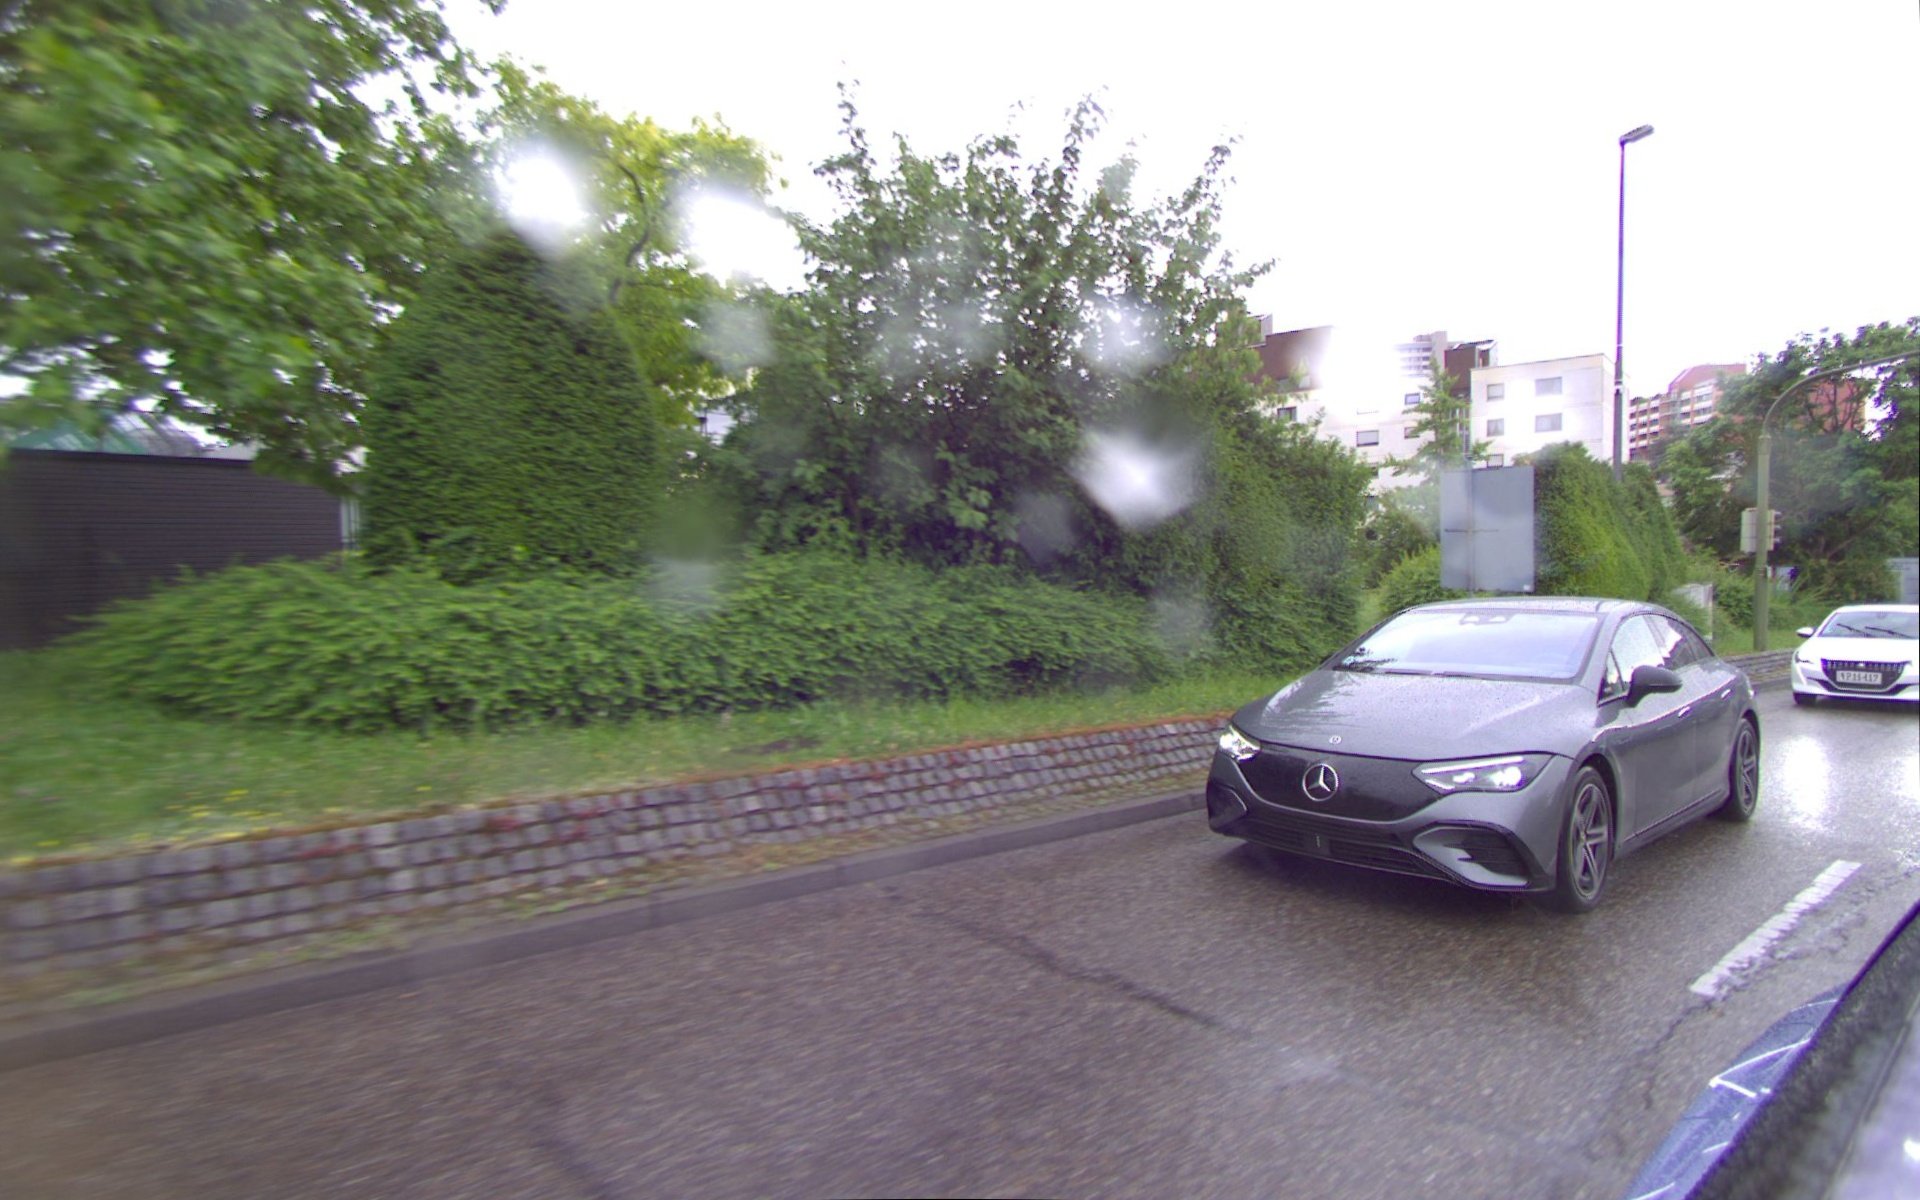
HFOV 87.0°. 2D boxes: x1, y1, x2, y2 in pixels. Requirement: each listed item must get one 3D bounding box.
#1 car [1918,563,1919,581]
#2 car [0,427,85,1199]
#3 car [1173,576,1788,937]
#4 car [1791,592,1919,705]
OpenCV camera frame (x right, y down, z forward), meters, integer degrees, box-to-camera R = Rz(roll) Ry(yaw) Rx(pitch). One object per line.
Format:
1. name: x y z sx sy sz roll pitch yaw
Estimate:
1. car: 78.057 -2.222 79.524 3.984 1.438 1.677 0 1 43
2. car: -3.501 0.618 0.544 4.528 1.526 1.957 -2 0 -40
3. car: 3.469 0.612 6.309 4.471 1.462 1.835 -1 0 -40
4. car: 13.776 0.620 14.795 3.963 1.415 1.718 -2 0 -38
